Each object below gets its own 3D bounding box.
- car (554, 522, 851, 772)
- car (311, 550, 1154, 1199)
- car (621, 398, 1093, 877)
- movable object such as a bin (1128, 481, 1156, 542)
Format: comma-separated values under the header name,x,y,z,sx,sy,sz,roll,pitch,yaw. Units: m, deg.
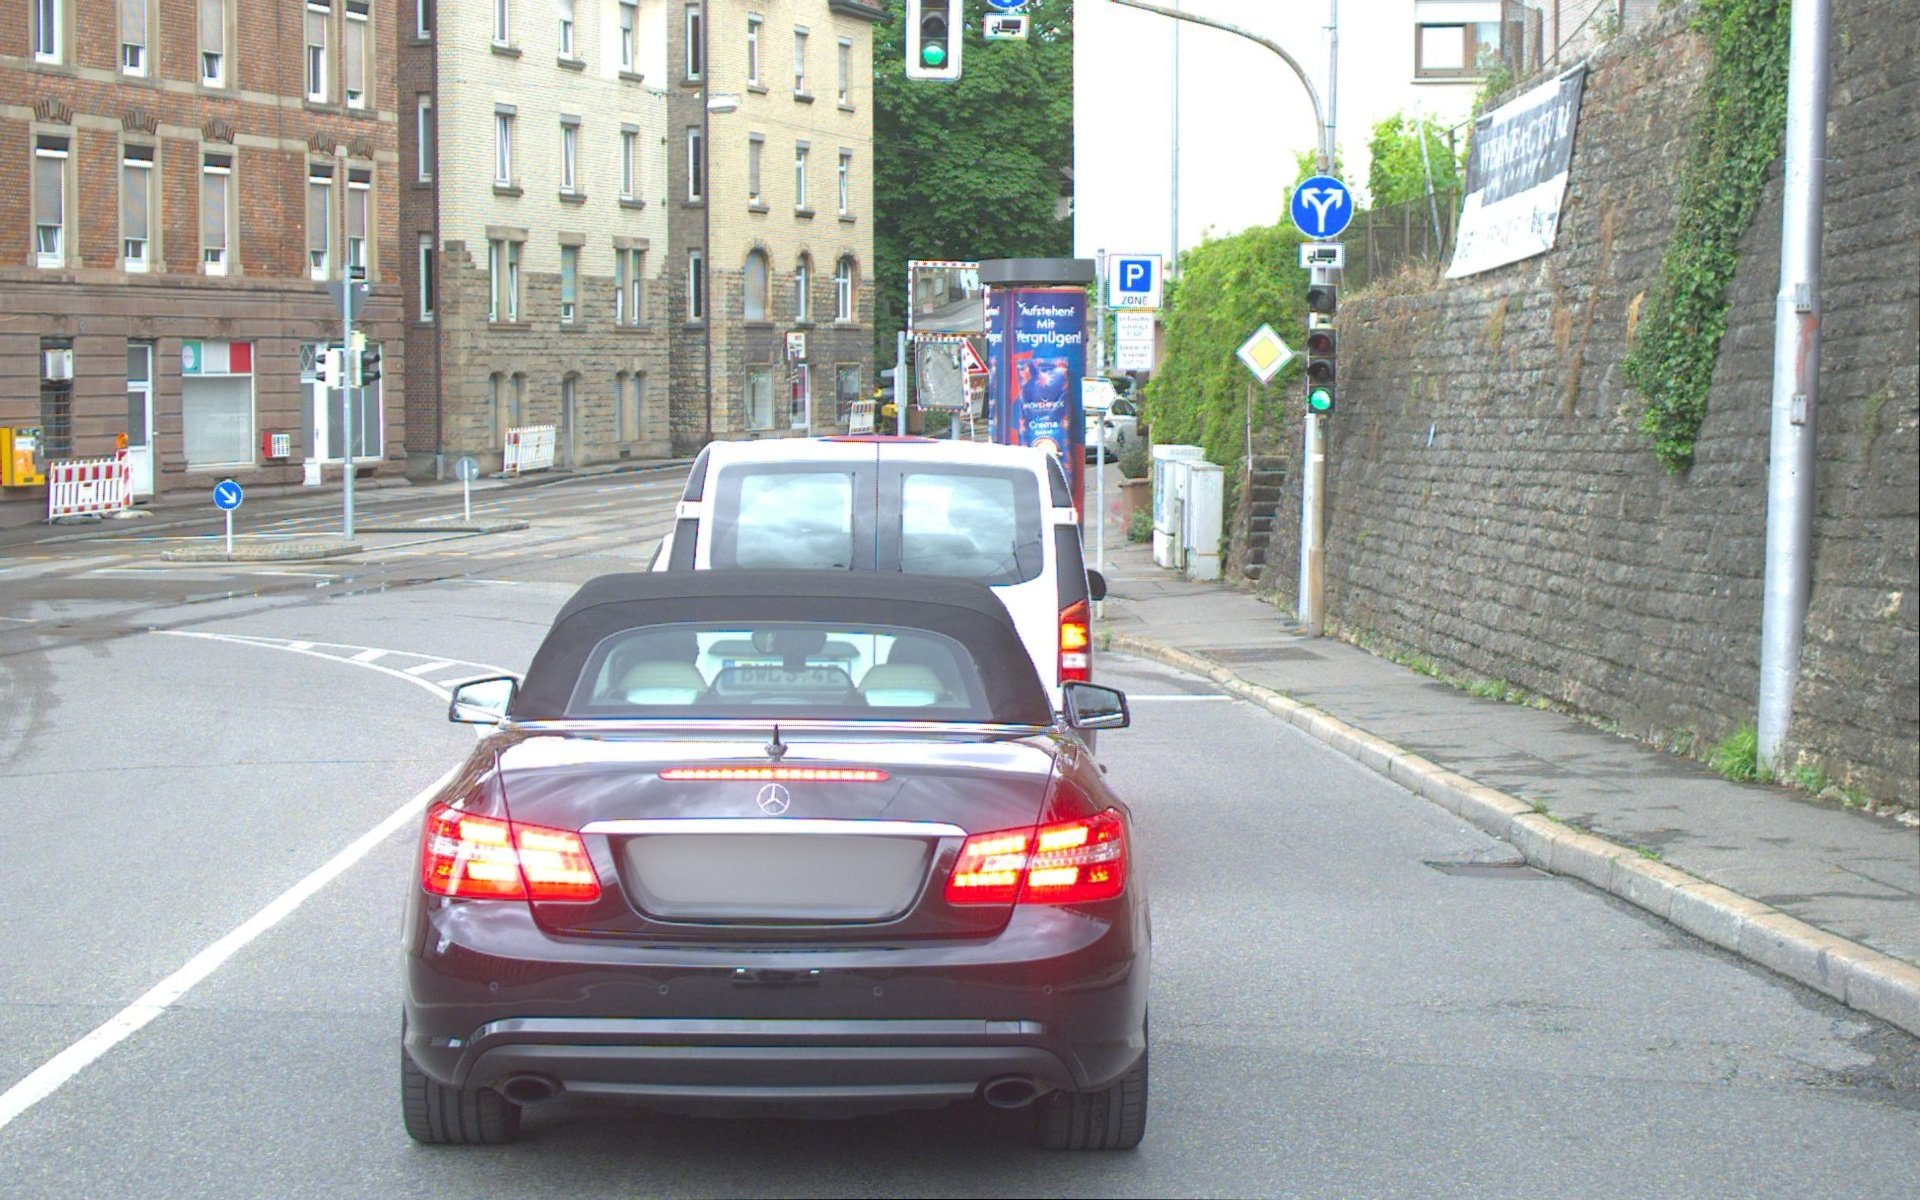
name,x,y,z,sx,sy,sz,roll,pitch,yaw
car,-1.590,0.235,22.354,1.681,1.461,3.919,0,2,-1
car,-0.506,0.599,9.409,1.761,1.404,4.399,0,2,-1
car,-0.446,0.091,16.196,1.891,1.922,4.646,0,2,-1
movable object such as a bin,2.753,-1.336,51.967,0.343,0.908,0.495,0,2,-6
